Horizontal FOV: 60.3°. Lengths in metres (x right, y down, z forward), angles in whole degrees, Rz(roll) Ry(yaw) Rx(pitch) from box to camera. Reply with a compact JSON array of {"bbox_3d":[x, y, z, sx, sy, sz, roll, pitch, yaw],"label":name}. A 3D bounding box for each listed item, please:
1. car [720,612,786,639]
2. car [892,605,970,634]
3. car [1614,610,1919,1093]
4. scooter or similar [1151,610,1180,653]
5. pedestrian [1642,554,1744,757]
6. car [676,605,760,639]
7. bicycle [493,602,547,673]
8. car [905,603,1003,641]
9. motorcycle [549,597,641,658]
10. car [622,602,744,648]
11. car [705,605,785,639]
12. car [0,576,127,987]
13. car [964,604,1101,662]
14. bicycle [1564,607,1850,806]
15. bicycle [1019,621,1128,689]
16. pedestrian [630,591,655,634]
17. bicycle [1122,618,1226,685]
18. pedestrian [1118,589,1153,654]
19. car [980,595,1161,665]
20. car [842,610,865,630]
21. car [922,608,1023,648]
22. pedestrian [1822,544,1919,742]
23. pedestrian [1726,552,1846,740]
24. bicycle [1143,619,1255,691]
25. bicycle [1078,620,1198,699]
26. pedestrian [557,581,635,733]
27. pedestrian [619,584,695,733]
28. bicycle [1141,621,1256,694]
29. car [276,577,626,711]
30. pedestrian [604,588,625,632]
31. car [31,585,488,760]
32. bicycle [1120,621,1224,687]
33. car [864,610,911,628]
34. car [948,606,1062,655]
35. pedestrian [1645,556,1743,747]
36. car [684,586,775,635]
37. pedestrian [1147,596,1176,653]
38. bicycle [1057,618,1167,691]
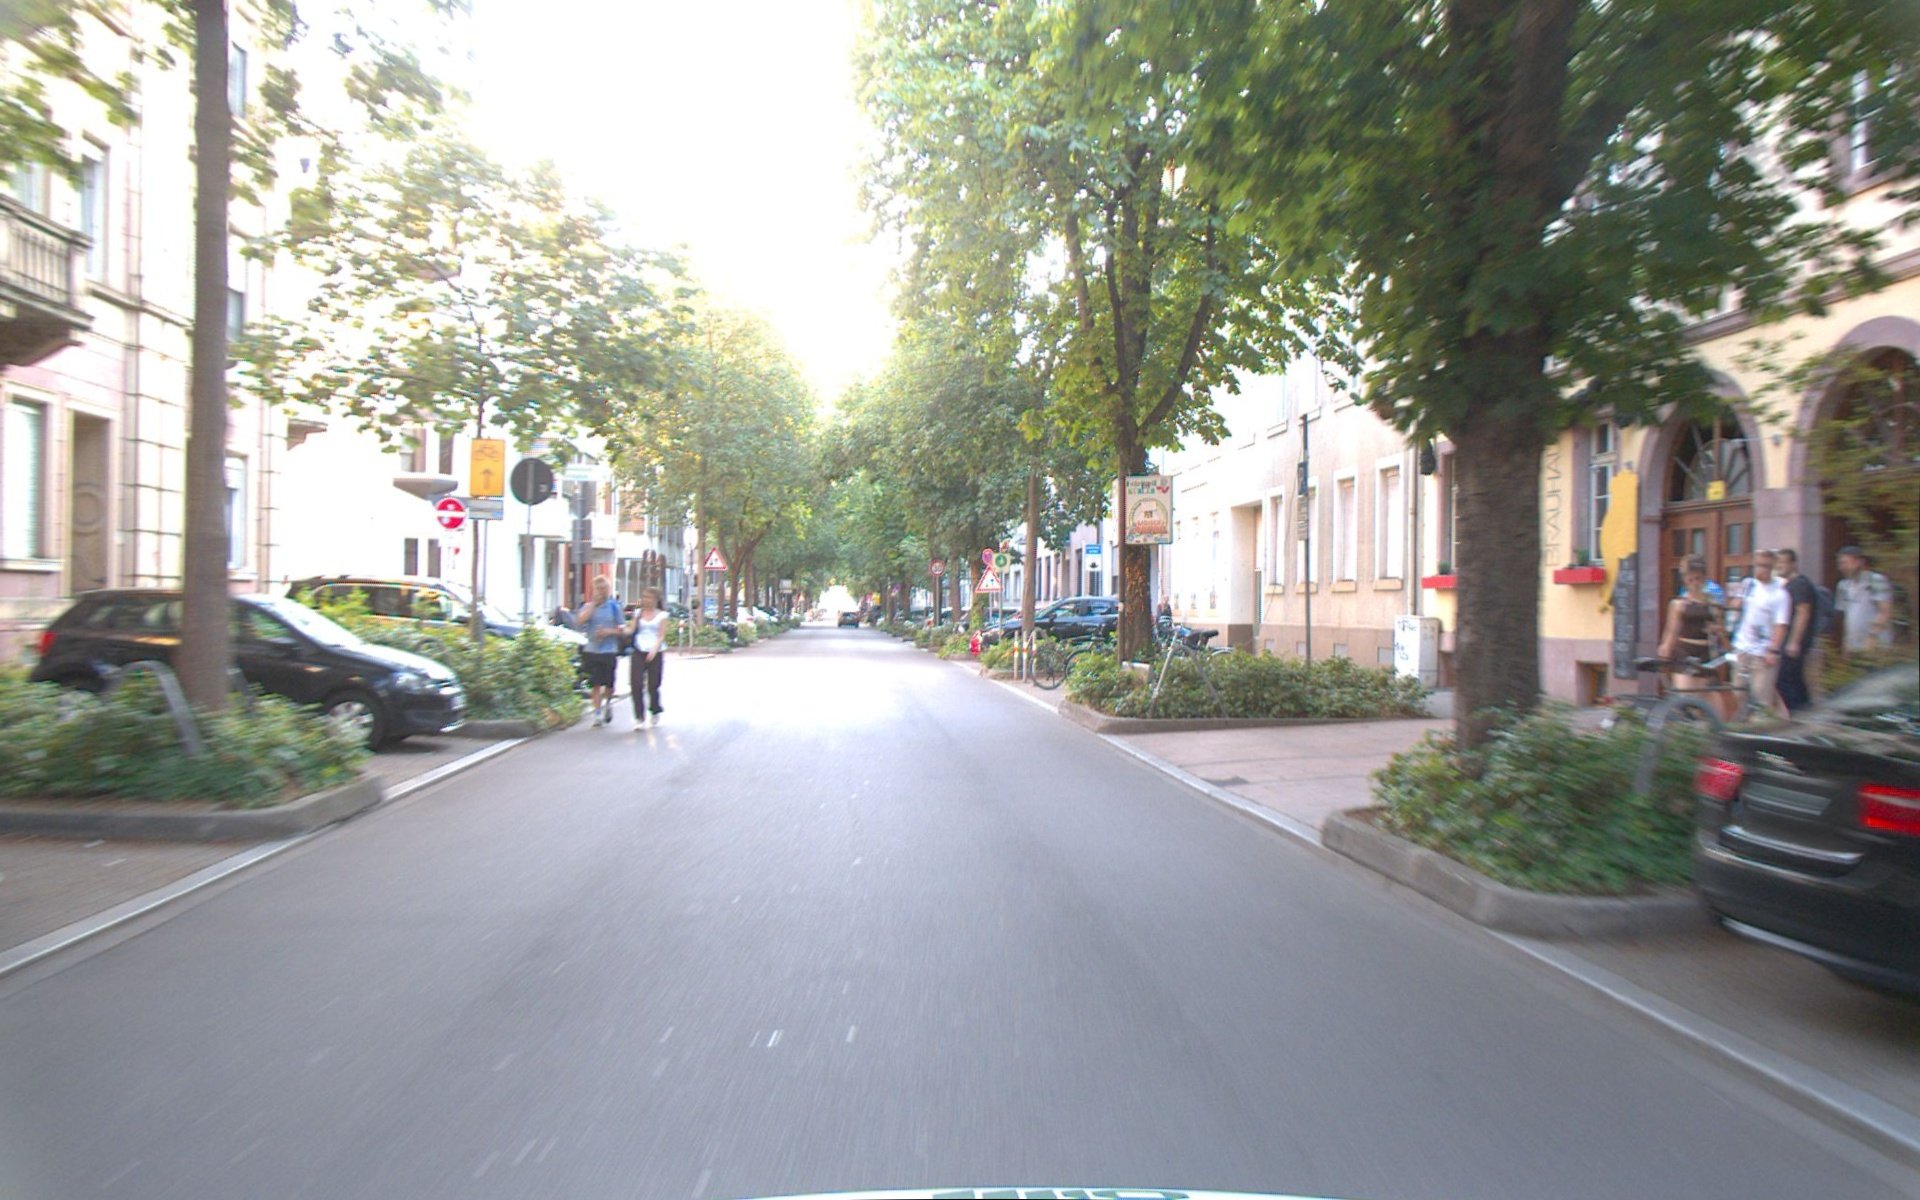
[{"bbox_3d":[-13.402,1.656,107.467,4.121,1.664,1.961,-1,-1,-5],"label":"car"},{"bbox_3d":[-1.654,1.111,95.135,4.417,1.548,1.995,-1,-1,-1],"label":"car"},{"bbox_3d":[4.978,0.700,6.158,4.317,1.418,1.883,-3,0,-7],"label":"car"},{"bbox_3d":[5.596,0.857,45.144,0.642,1.173,0.831,0,0,-4],"label":"scooter or similar"},{"bbox_3d":[6.550,0.483,14.812,0.696,1.769,0.748,-1,1,15],"label":"pedestrian"},{"bbox_3d":[-11.551,1.051,79.126,3.793,1.512,1.756,1,-1,-3],"label":"car"},{"bbox_3d":[-7.025,0.607,26.463,0.512,1.077,1.859,3,-2,-7],"label":"bicycle"},{"bbox_3d":[-0.301,1.040,79.837,4.623,1.740,1.949,1,0,-3],"label":"car"},{"bbox_3d":[-9.375,0.711,42.473,2.178,1.507,0.853,1,0,-23],"label":"motorcycle"},{"bbox_3d":[-9.719,0.864,58.273,4.047,1.512,1.927,1,-1,-6],"label":"car"},{"bbox_3d":[-12.945,1.335,99.766,4.591,1.886,1.961,-1,-1,-5],"label":"car"},{"bbox_3d":[-5.558,0.646,6.192,3.868,1.559,1.905,1,-1,-5],"label":"car"},{"bbox_3d":[1.927,0.874,44.669,3.417,1.478,1.897,-1,0,-7],"label":"car"},{"bbox_3d":[5.237,0.719,11.620,1.764,1.254,0.671,-2,0,-14],"label":"bicycle"},{"bbox_3d":[2.037,0.969,29.698,1.806,1.155,0.742,-1,0,-15],"label":"bicycle"},{"bbox_3d":[-13.194,0.524,68.759,0.688,1.788,0.740,0,-1,19],"label":"pedestrian"},{"bbox_3d":[3.894,0.933,30.115,1.763,1.163,0.667,-1,0,-14],"label":"bicycle"},{"bbox_3d":[4.836,0.581,45.566,0.684,1.767,0.666,0,-1,-36],"label":"pedestrian"},{"bbox_3d":[2.714,0.736,41.427,4.338,1.685,1.898,0,0,-3],"label":"car"},{"bbox_3d":[-9.287,1.746,143.949,1.918,1.593,4.278,-1,-1,-4],"label":"car"},{"bbox_3d":[0.473,1.107,65.973,3.803,1.465,1.844,-1,0,-8],"label":"car"},{"bbox_3d":[8.390,0.385,15.228,0.710,1.769,0.744,-1,1,22],"label":"pedestrian"},{"bbox_3d":[8.064,0.433,16.159,0.765,1.769,0.680,-2,1,-20],"label":"pedestrian"},{"bbox_3d":[4.046,0.928,28.066,1.763,1.163,0.649,-1,0,-13],"label":"bicycle"},{"bbox_3d":[2.813,0.930,26.233,1.794,1.199,0.672,-1,0,-6],"label":"bicycle"},{"bbox_3d":[-4.353,0.670,19.818,0.779,1.767,0.830,0,-1,-4],"label":"pedestrian"},{"bbox_3d":[-3.553,0.675,19.473,0.779,1.700,0.830,0,-1,-4],"label":"pedestrian"},{"bbox_3d":[3.921,0.935,27.236,1.762,1.148,0.662,-1,0,-11],"label":"bicycle"},{"bbox_3d":[-7.090,0.597,23.409,4.338,1.680,1.871,2,0,-4],"label":"car"},{"bbox_3d":[-14.024,0.395,67.095,0.689,1.758,0.904,1,-1,-4],"label":"pedestrian"},{"bbox_3d":[-6.640,0.662,16.041,3.620,1.484,1.871,2,0,-5],"label":"car"},{"bbox_3d":[3.774,0.952,29.418,1.761,1.127,0.499,-1,0,-10],"label":"bicycle"},{"bbox_3d":[-6.600,1.737,150.934,4.185,1.593,1.961,-1,-1,-5],"label":"car"},{"bbox_3d":[1.416,0.964,53.170,3.417,1.478,1.897,-1,0,-7],"label":"car"},{"bbox_3d":[7.023,0.479,15.843,0.603,1.769,0.623,-2,1,-5],"label":"pedestrian"},{"bbox_3d":[-12.133,0.581,87.371,4.590,2.521,1.998,1,-1,-5],"label":"car"},{"bbox_3d":[5.562,0.664,45.630,0.642,1.563,0.831,0,-1,-4],"label":"pedestrian"},{"bbox_3d":[2.607,0.933,28.425,1.794,1.199,0.600,-1,0,-6],"label":"bicycle"}]
